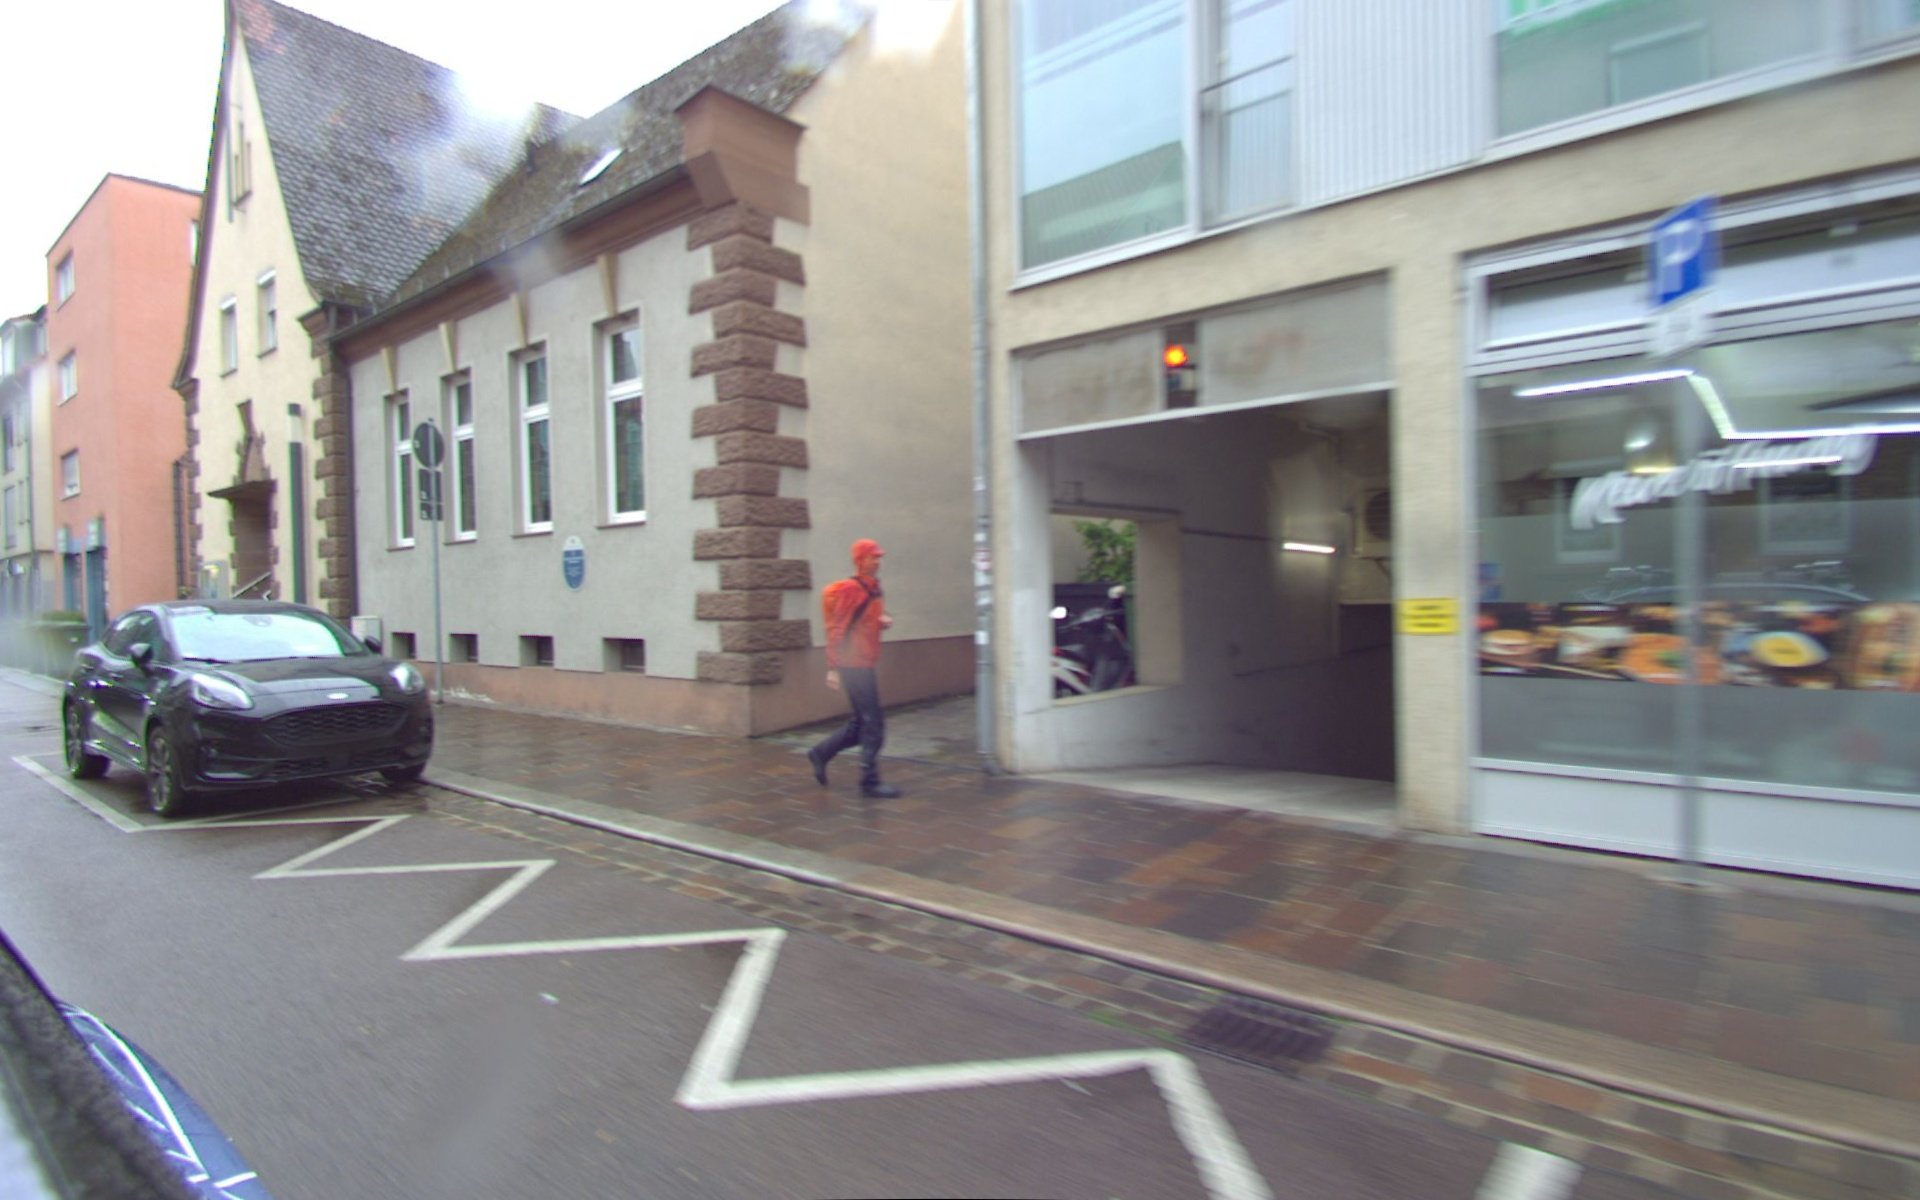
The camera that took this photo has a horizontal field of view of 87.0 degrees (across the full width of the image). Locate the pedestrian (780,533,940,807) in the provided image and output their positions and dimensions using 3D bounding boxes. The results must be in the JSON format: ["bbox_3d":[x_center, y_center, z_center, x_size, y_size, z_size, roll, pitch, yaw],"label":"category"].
[{"bbox_3d":[-0.712,0.450,7.149,1.008,1.790,0.544,0,2,41],"label":"pedestrian"}]

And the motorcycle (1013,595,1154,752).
[{"bbox_3d":[1.150,0.611,9.183,0.536,1.300,1.491,-1,0,40],"label":"motorcycle"}]

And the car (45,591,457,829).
[{"bbox_3d":[-6.013,0.724,8.432,3.925,1.537,1.719,-1,0,38],"label":"car"}]
